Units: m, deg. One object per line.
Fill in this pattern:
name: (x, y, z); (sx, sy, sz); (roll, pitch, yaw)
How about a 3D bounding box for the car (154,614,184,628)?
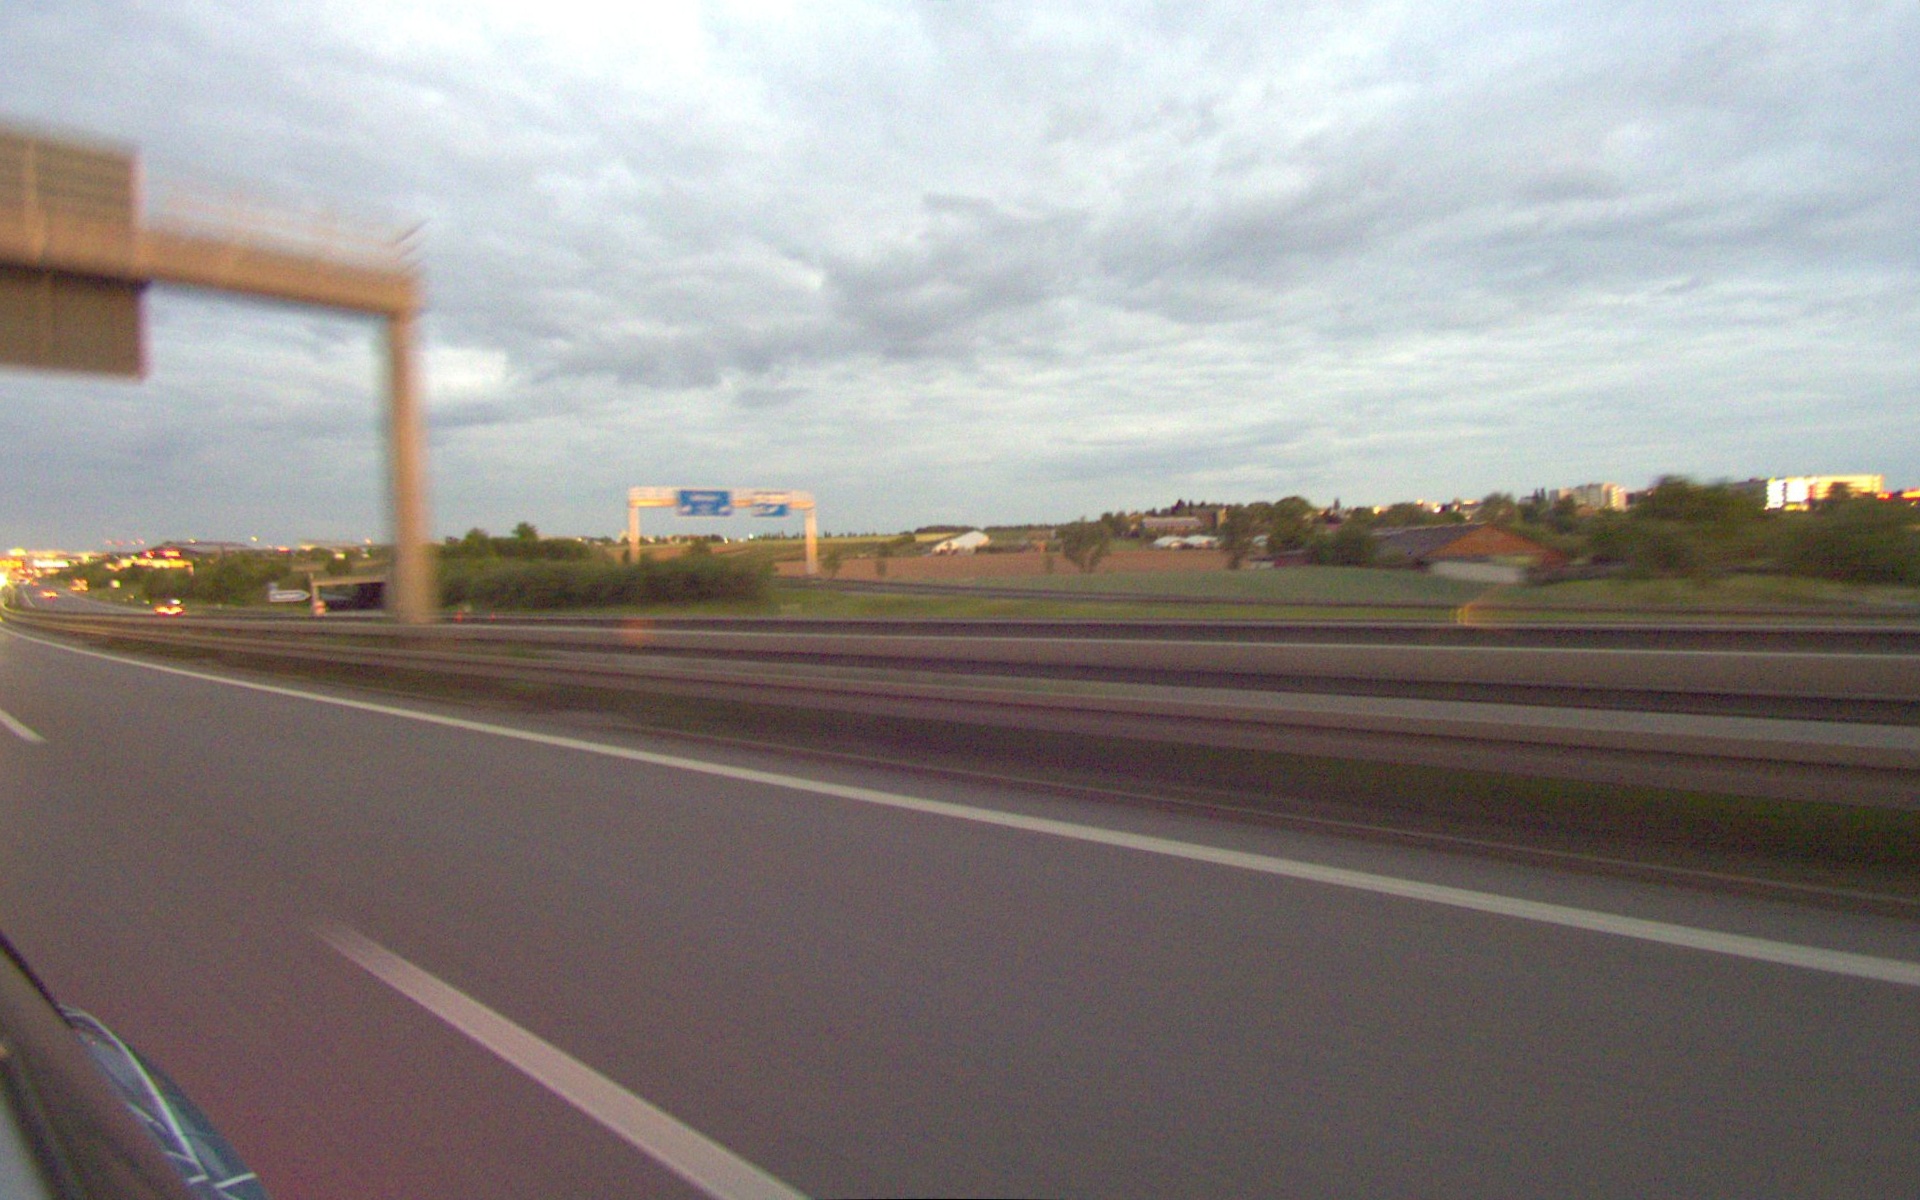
car: (-90.691, 2.376, 116.058); (4.329, 1.414, 1.972); (0, 2, 42)
